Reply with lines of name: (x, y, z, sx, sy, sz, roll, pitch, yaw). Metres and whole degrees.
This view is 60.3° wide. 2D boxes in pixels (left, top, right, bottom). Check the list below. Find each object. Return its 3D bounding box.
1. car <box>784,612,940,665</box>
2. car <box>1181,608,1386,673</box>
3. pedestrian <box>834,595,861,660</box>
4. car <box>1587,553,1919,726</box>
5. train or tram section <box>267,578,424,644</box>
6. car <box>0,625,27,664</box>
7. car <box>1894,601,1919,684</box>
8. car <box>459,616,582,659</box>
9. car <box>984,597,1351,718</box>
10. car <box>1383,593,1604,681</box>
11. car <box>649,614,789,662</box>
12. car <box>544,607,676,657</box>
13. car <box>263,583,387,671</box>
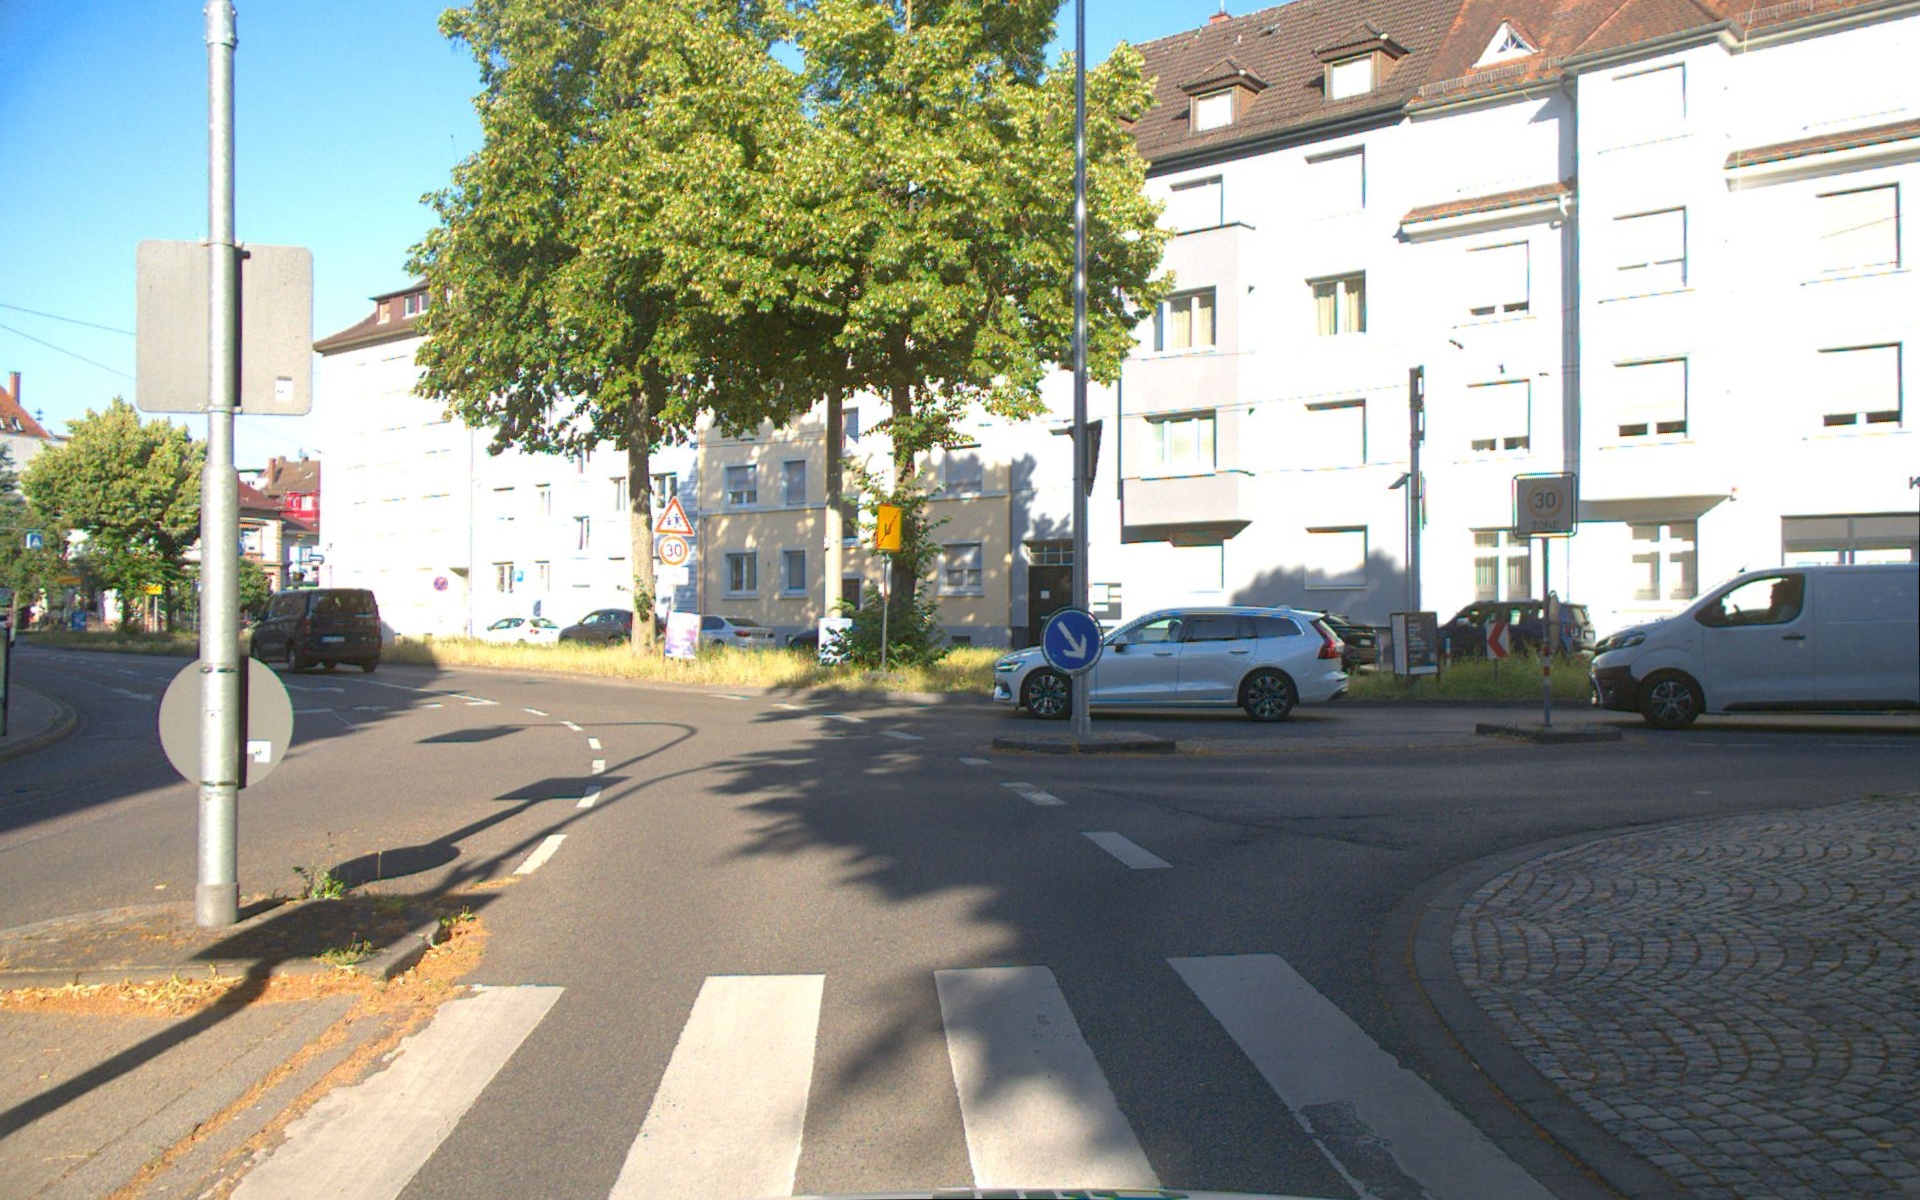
car: (-2.869, 1.081, 47.800, 4.363, 1.411, 1.990, 0, 0, 40)
car: (7.585, 0.899, 38.940, 4.363, 1.411, 1.990, 0, 0, 40)
pedestrian: (-3.594, 0.871, 52.943, 0.637, 2.049, 0.610, -1, -1, 40)
car: (9.914, 0.427, 19.375, 4.786, 1.887, 2.000, 0, 0, 22)
train or tram section: (-34.924, 0.658, 94.485, 2.717, 3.618, 9.922, 0, -1, 19)
car: (-39.989, 1.839, 68.611, 1.941, 1.531, 3.641, -1, 0, -34)
car: (18.999, 0.762, 29.288, 4.021, 1.478, 1.990, 0, 0, 40)
car: (-15.785, 1.326, 59.348, 4.358, 1.411, 1.992, 0, 0, 37)
car: (2.774, 0.714, 21.993, 4.655, 1.489, 1.856, 0, 0, 11)
car: (11.485, 0.747, 35.718, 4.130, 1.779, 1.990, 0, 0, 40)
car: (-7.653, 1.179, 52.299, 4.363, 1.411, 1.990, 0, 0, 40)
car: (-11.873, 1.085, 55.979, 4.554, 1.600, 1.990, -1, -1, 40)
car: (-15.529, 0.650, 40.351, 1.976, 2.049, 3.952, 2, -1, -34)
